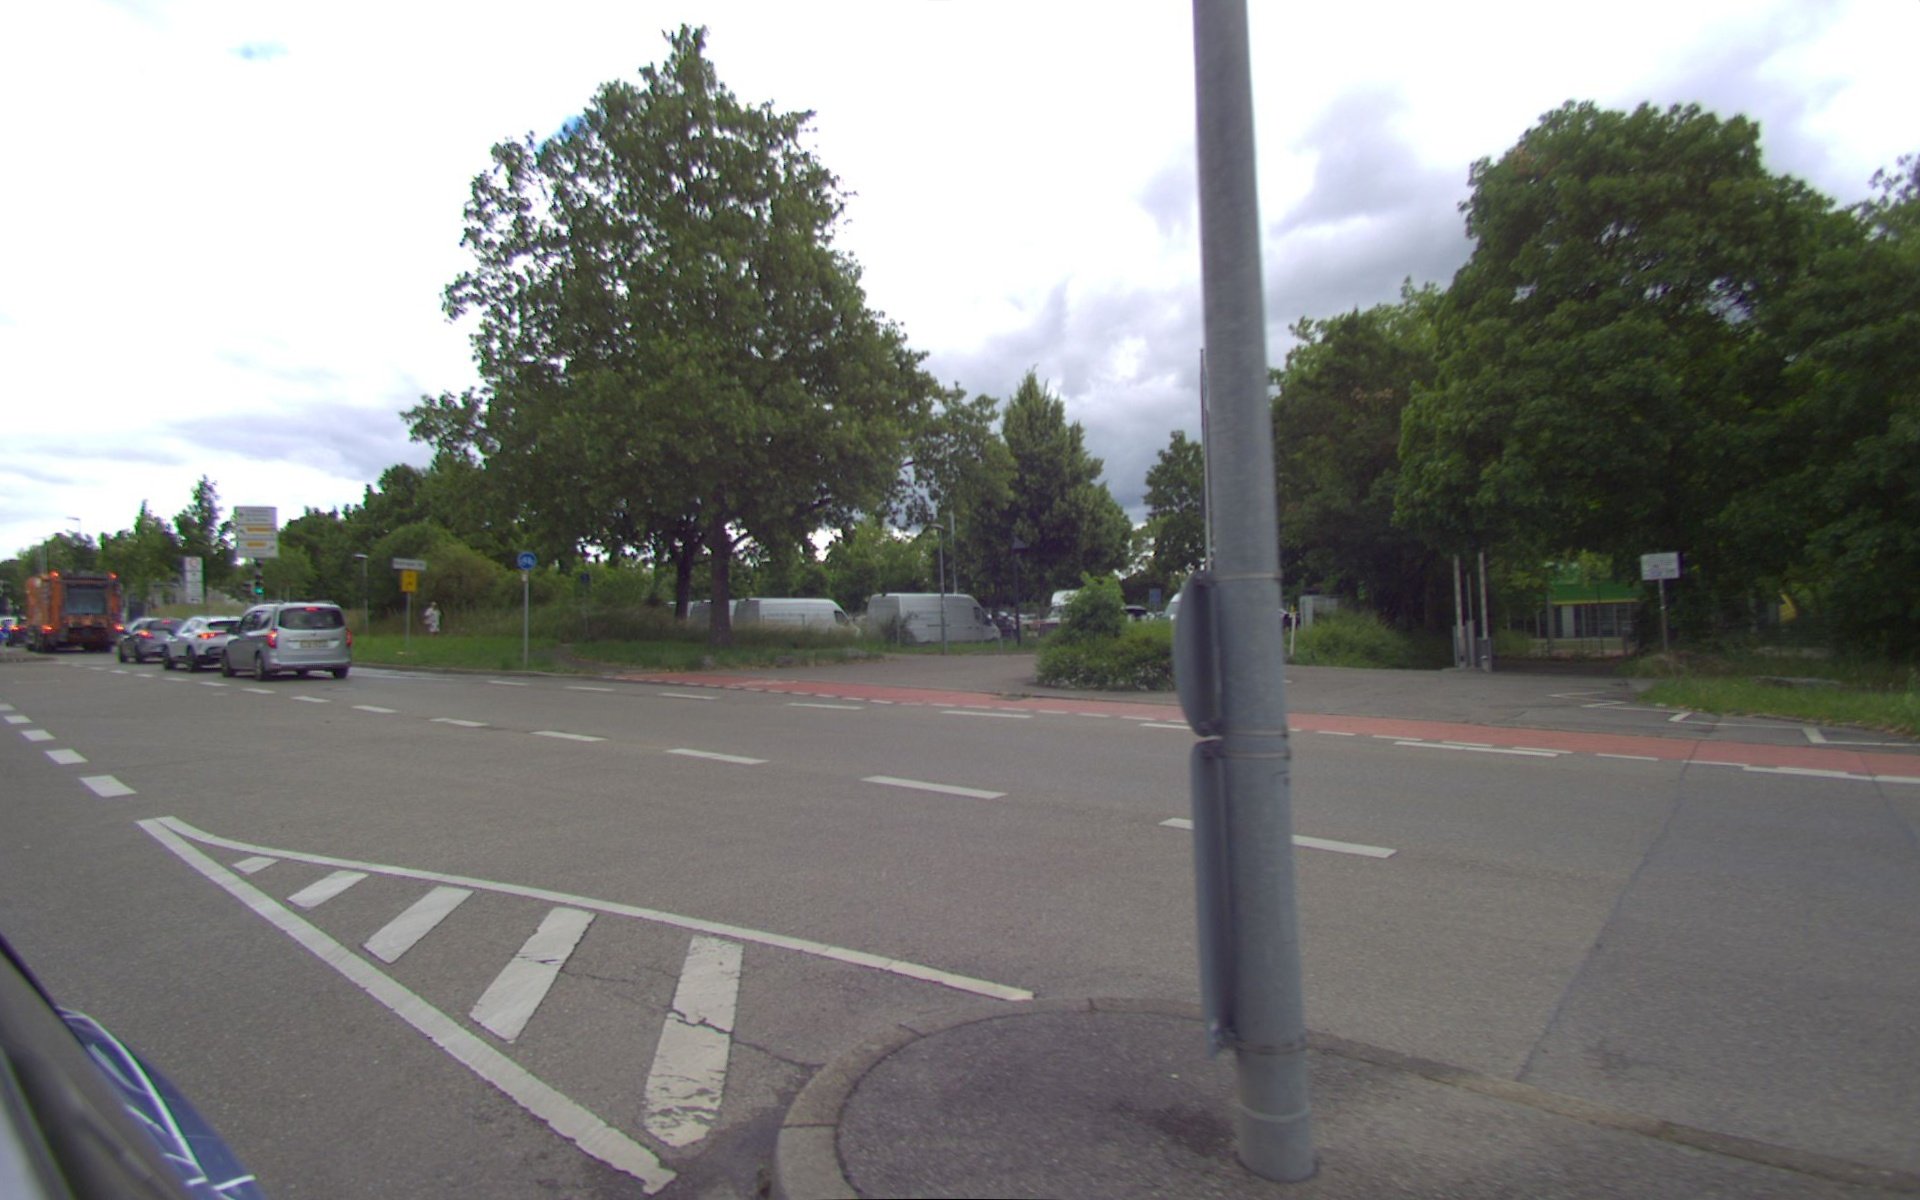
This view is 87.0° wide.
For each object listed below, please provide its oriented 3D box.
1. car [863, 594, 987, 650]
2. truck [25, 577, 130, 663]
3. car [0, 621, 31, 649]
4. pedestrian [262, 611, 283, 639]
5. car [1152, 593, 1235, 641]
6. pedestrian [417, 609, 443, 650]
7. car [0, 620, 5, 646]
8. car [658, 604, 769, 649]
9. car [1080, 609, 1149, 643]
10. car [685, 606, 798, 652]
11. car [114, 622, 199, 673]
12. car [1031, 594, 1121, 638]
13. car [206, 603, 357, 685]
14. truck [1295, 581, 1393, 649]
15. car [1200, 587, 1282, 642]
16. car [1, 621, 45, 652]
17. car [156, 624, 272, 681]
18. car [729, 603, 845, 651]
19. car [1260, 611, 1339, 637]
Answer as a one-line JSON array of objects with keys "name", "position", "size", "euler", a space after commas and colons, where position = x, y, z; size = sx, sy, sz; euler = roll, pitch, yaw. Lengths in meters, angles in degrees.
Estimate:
[{"name": "car", "position": [-1.298, 0.873, 39.920], "size": [2.009, 2.029, 5.233], "euler": [0, -2, 38]}, {"name": "truck", "position": [-39.297, 0.859, 44.949], "size": [7.824, 3.507, 2.794], "euler": [-1, -1, 43]}, {"name": "car", "position": [-56.934, 2.075, 60.680], "size": [3.584, 1.630, 1.570], "euler": [-2, -1, 44]}, {"name": "pedestrian", "position": [-36.962, 1.321, 54.411], "size": [0.638, 1.458, 0.748], "euler": [0, 1, 39]}, {"name": "car", "position": [13.048, 0.862, 56.175], "size": [1.996, 2.431, 6.878], "euler": [0, 1, 36]}, {"name": "pedestrian", "position": [-22.699, 1.253, 43.380], "size": [0.637, 1.750, 0.750], "euler": [0, 1, 31]}, {"name": "car", "position": [-62.207, 2.133, 64.665], "size": [3.584, 1.630, 1.570], "euler": [-2, -1, 44]}, {"name": "car", "position": [-11.818, 1.279, 48.853], "size": [1.737, 2.029, 5.233], "euler": [0, -2, 38]}, {"name": "car", "position": [9.058, 1.480, 59.165], "size": [1.996, 1.820, 4.887], "euler": [0, 1, 36]}, {"name": "car", "position": [-10.056, 1.353, 47.016], "size": [1.737, 2.029, 5.233], "euler": [0, -2, 38]}, {"name": "car", "position": [-26.836, 1.544, 33.789], "size": [3.349, 1.574, 1.619], "euler": [-1, -1, 40]}, {"name": "car", "position": [7.193, 0.913, 61.872], "size": [1.999, 2.431, 6.869], "euler": [0, 1, 40]}, {"name": "car", "position": [-16.542, 1.019, 24.592], "size": [4.401, 1.783, 1.810], "euler": [-1, 0, 39]}, {"name": "truck", "position": [18.460, 0.601, 48.403], "size": [2.705, 2.992, 6.716], "euler": [0, 1, 36]}, {"name": "car", "position": [15.216, 0.715, 54.405], "size": [1.996, 2.706, 6.878], "euler": [0, 1, 36]}, {"name": "car", "position": [-50.961, 1.963, 55.016], "size": [3.351, 1.630, 1.570], "euler": [-2, -1, 44]}, {"name": "car", "position": [-21.065, 1.424, 28.525], "size": [4.119, 1.497, 1.711], "euler": [-1, -2, 40]}, {"name": "car", "position": [-7.625, 1.190, 45.057], "size": [1.738, 2.029, 5.231], "euler": [0, -2, 39]}, {"name": "car", "position": [19.877, 1.399, 59.300], "size": [3.993, 1.421, 1.975], "euler": [0, 1, 37]}]
